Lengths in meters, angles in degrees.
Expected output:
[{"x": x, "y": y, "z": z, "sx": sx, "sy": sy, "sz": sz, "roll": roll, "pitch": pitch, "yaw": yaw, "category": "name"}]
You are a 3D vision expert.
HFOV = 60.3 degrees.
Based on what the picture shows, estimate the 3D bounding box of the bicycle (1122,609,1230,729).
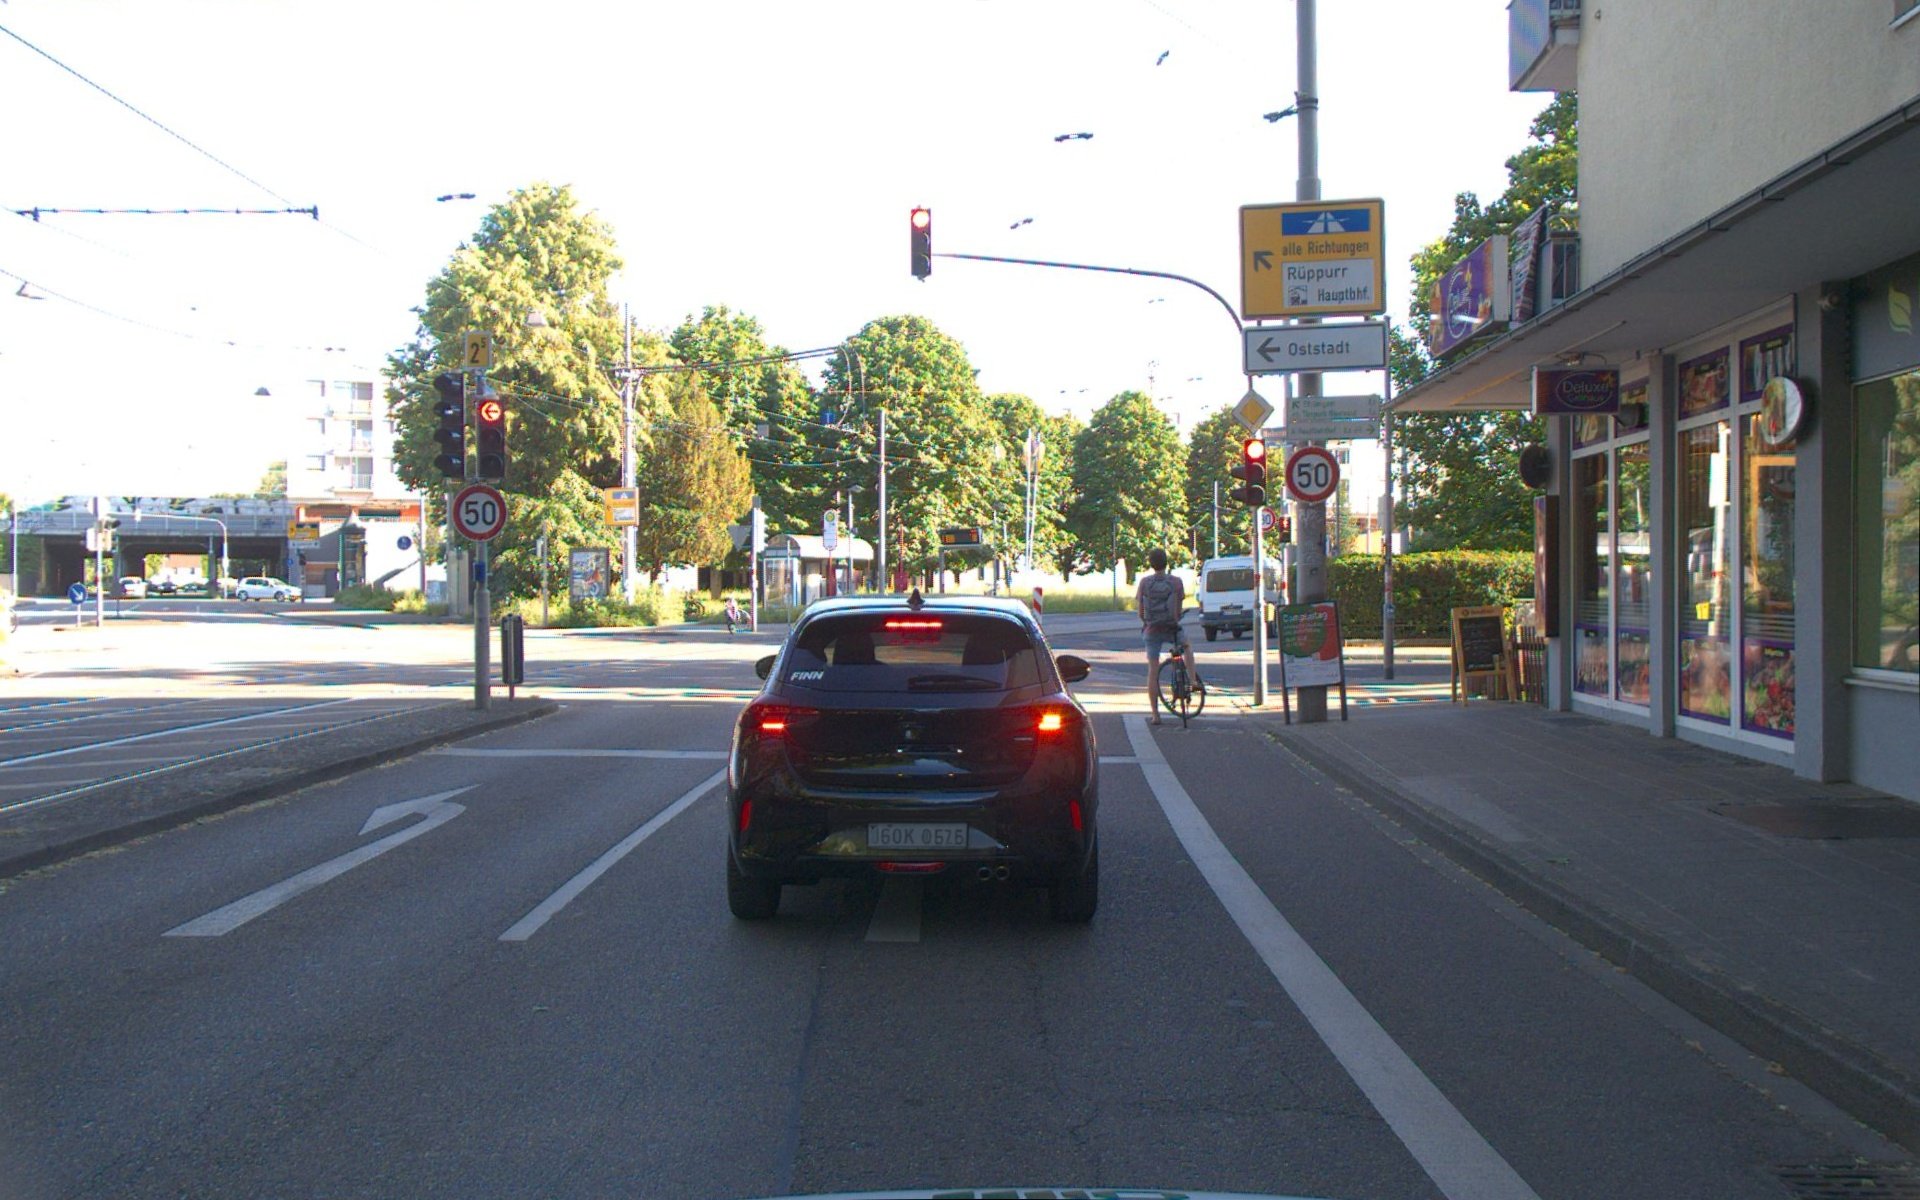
[{"x": 2.312, "y": 0.710, "z": 17.986, "sx": 0.842, "sy": 1.173, "sz": 2.171, "roll": -1, "pitch": 1, "yaw": -1, "category": "bicycle"}]

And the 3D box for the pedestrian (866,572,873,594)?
[{"x": -5.946, "y": -1.109, "z": 108.715, "sx": 0.404, "sy": 1.437, "sz": 0.436, "roll": 2, "pitch": 0, "yaw": -1, "category": "pedestrian"}]

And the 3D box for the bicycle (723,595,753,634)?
[{"x": -6.218, "y": 0.382, "z": 46.384, "sx": 0.593, "sy": 1.049, "sz": 1.982, "roll": 0, "pitch": 1, "yaw": -1, "category": "bicycle"}]

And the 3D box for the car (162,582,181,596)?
[{"x": -93.526, "y": -1.300, "z": 196.184, "sx": 1.969, "sy": 1.630, "sz": 4.211, "roll": -1, "pitch": 1, "yaw": -26, "category": "car"}]

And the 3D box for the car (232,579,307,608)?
[{"x": -44.318, "y": -0.402, "z": 106.162, "sx": 4.086, "sy": 1.836, "sz": 1.738, "roll": 0, "pitch": 0, "yaw": 8, "category": "car"}]

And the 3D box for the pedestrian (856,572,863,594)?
[{"x": -6.626, "y": -1.128, "z": 108.998, "sx": 0.404, "sy": 1.437, "sz": 0.436, "roll": 2, "pitch": 0, "yaw": -3, "category": "pedestrian"}]

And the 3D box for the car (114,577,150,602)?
[{"x": -63.289, "y": -0.836, "z": 126.416, "sx": 2.183, "sy": 1.855, "sz": 4.117, "roll": -1, "pitch": 1, "yaw": -23, "category": "car"}]

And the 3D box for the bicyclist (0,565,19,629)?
[{"x": -24.688, "y": -0.074, "z": 42.324, "sx": 0.843, "sy": 1.623, "sz": 0.650, "roll": 0, "pitch": 0, "yaw": 5, "category": "bicyclist"}]

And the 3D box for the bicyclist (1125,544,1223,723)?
[{"x": 2.305, "y": 0.348, "z": 17.927, "sx": 0.922, "sy": 1.883, "sz": 0.864, "roll": -1, "pitch": 0, "yaw": -1, "category": "bicyclist"}]

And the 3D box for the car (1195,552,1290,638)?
[{"x": 8.012, "y": -0.153, "z": 46.588, "sx": 2.020, "sy": 2.288, "sz": 4.890, "roll": 0, "pitch": 1, "yaw": 17, "category": "car"}]

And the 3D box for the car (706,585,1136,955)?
[{"x": -0.174, "y": 0.663, "z": 8.663, "sx": 1.692, "sy": 1.454, "sz": 4.186, "roll": 1, "pitch": 0, "yaw": -1, "category": "car"}]

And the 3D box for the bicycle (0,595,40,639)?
[{"x": -24.702, "y": 0.444, "z": 42.334, "sx": 2.011, "sy": 1.113, "sz": 0.593, "roll": 0, "pitch": 0, "yaw": 5, "category": "bicycle"}]
